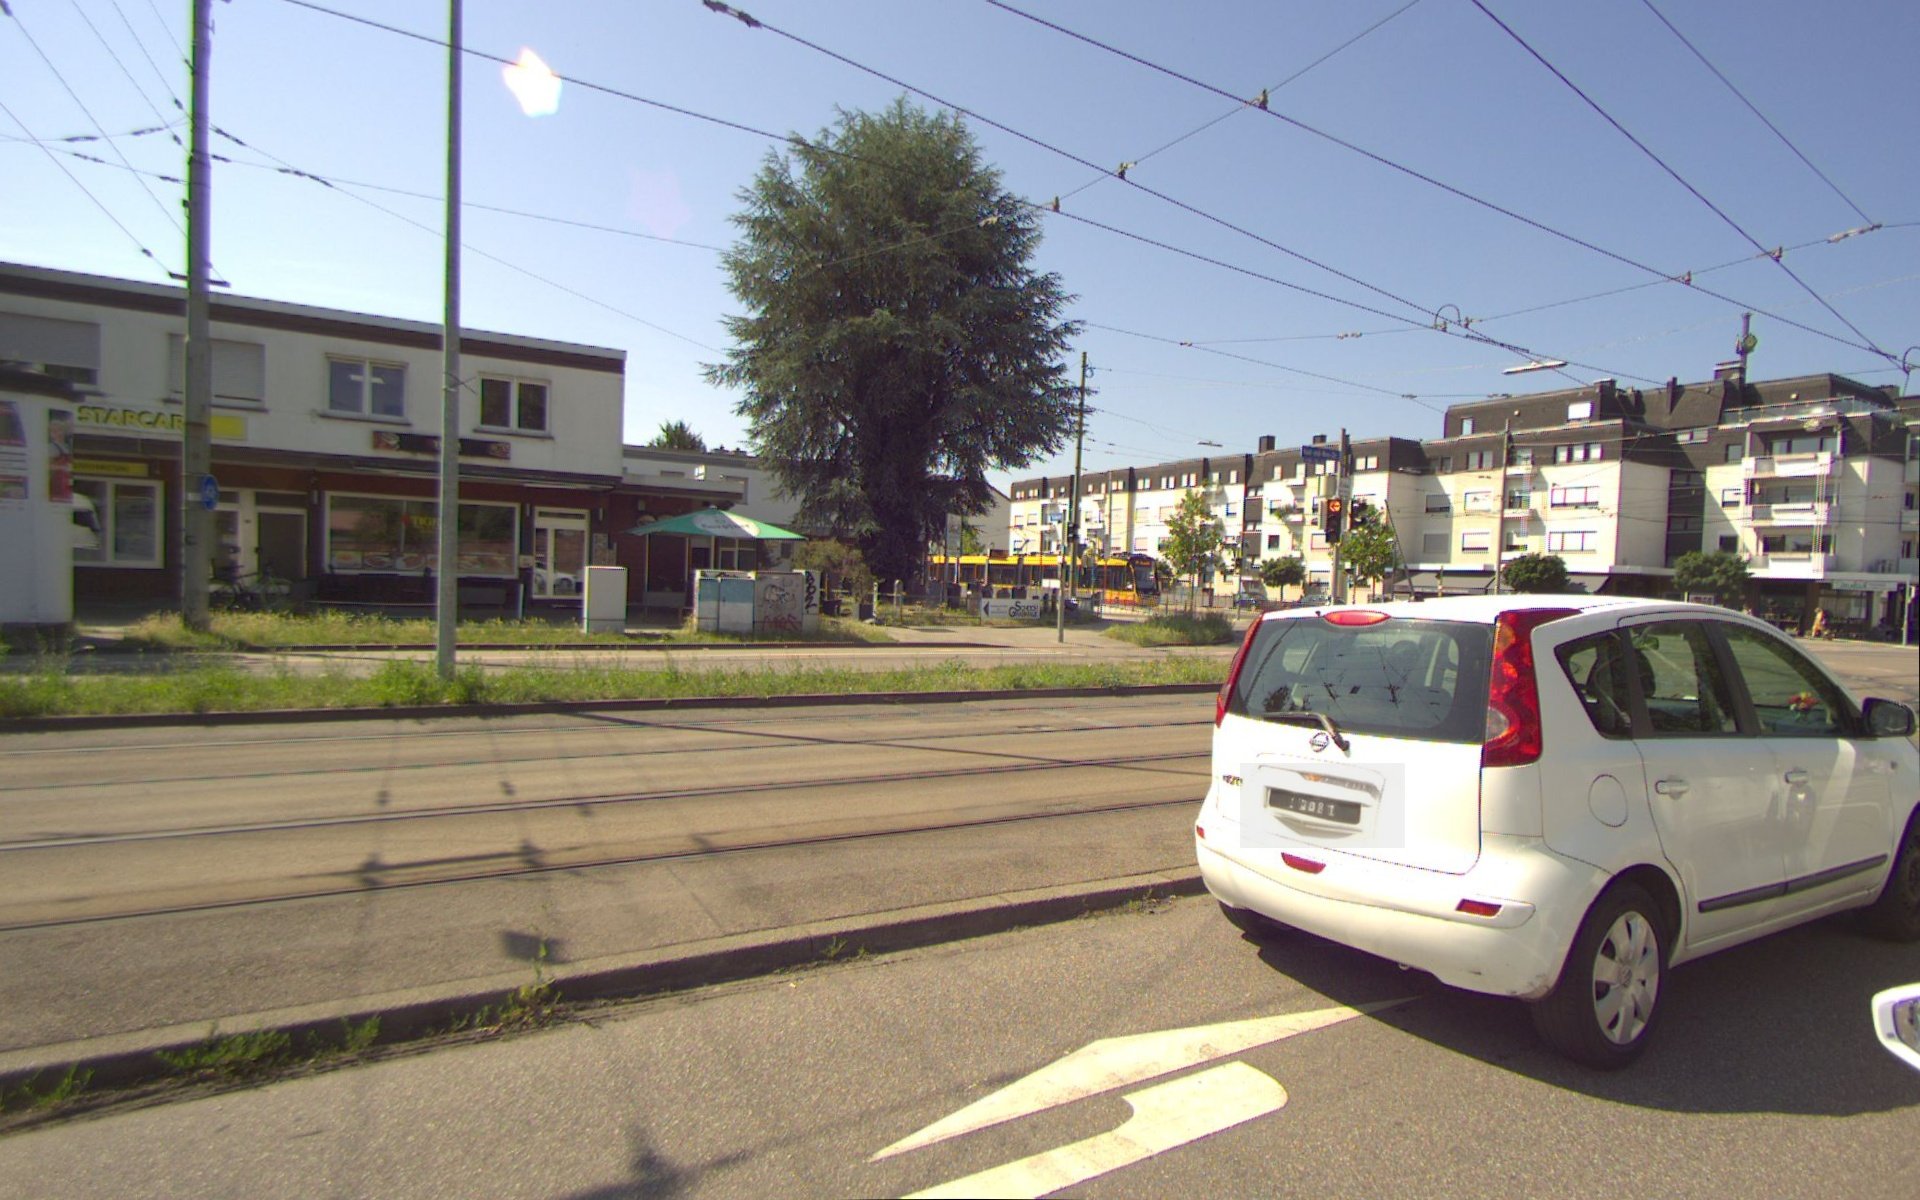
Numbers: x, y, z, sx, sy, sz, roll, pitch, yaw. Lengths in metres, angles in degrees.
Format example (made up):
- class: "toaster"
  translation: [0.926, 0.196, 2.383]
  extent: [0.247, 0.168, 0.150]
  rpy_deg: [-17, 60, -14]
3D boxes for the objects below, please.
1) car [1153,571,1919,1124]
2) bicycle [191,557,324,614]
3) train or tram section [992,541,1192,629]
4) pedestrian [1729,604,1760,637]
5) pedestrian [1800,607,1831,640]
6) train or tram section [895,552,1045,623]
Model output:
- class: "car"
  translation: [2.850, 0.719, 4.548]
  extent: [3.759, 1.587, 1.634]
  rpy_deg: [0, 0, -31]
- class: "bicycle"
  translation: [-15.512, -0.293, 22.269]
  extent: [2.306, 1.167, 0.783]
  rpy_deg: [2, -1, -30]
- class: "train or tram section"
  translation: [8.540, -0.897, 69.382]
  extent: [4.681, 5.217, 16.122]
  rpy_deg: [2, -1, -30]
- class: "pedestrian"
  translation: [43.065, 1.134, 55.154]
  extent: [0.955, 1.766, 0.864]
  rpy_deg: [2, -1, 1]
- class: "pedestrian"
  translation: [47.284, 1.287, 55.517]
  extent: [0.955, 1.766, 0.865]
  rpy_deg: [2, -1, 8]
- class: "train or tram section"
  translation: [0.385, -0.930, 83.284]
  extent: [4.681, 5.217, 16.122]
  rpy_deg: [2, -1, -30]
